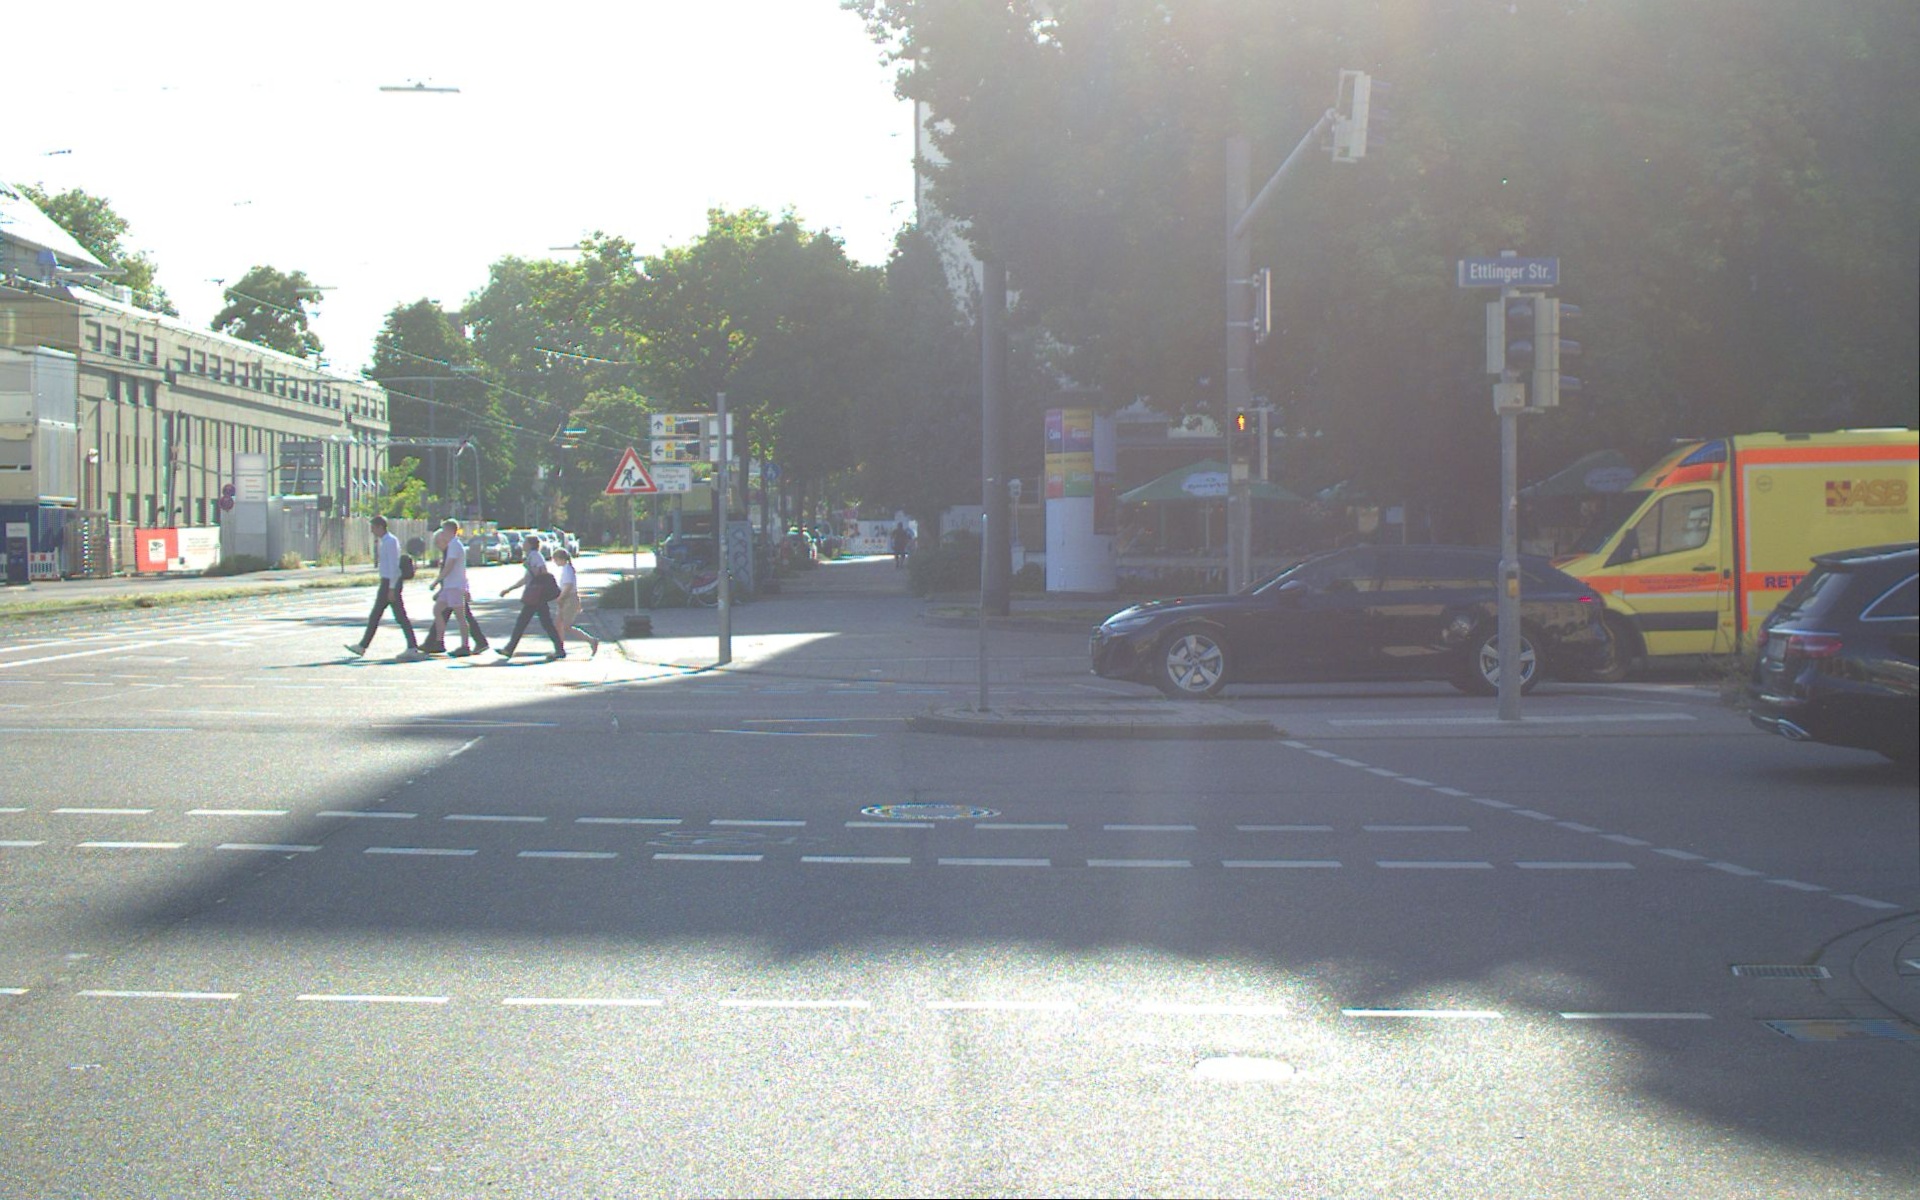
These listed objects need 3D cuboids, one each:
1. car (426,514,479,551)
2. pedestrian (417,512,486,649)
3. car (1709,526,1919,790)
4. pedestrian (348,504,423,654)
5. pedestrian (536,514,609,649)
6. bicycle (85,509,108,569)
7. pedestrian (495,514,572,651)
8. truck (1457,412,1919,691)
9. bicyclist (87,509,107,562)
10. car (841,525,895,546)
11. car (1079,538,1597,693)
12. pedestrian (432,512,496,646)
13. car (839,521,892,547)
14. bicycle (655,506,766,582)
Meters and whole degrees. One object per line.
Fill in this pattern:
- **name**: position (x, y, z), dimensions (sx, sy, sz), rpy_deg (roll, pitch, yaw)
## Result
- **car**: position (-23.036, -3.066, 156.282), dimensions (1.894, 1.601, 4.501), rpy_deg (-1, 1, -2)
- **pedestrian**: position (-6.743, -0.257, 45.620), dimensions (0.739, 1.797, 0.716), rpy_deg (0, 1, 5)
- **car**: position (7.302, 0.308, 21.184), dimensions (4.941, 1.506, 2.210), rpy_deg (0, 2, 3)
- **pedestrian**: position (-7.409, -0.271, 44.363), dimensions (0.802, 1.911, 0.637), rpy_deg (0, 1, 5)
- **pedestrian**: position (-5.178, -0.248, 45.923), dimensions (0.870, 1.797, 0.532), rpy_deg (0, 1, 5)
- **bicycle**: position (-32.819, -2.319, 130.672), dimensions (0.571, 2.288, 1.422), rpy_deg (0, 1, -2)
- **pedestrian**: position (-5.628, -0.237, 45.404), dimensions (0.870, 1.797, 0.664), rpy_deg (0, 1, 5)
- **truck**: position (8.982, -0.549, 38.488), dimensions (6.468, 3.005, 2.725), rpy_deg (0, 1, 1)
- **bicyclist**: position (-32.828, -2.458, 130.709), dimensions (0.571, 2.017, 0.762), rpy_deg (0, 1, -2)
- **car**: position (-5.678, -3.955, 211.200), dimensions (3.217, 1.259, 1.373), rpy_deg (1, 0, -5)
- **car**: position (3.557, 0.163, 32.992), dimensions (4.735, 1.410, 2.000), rpy_deg (0, -1, 0)
- **pedestrian**: position (-6.714, -0.292, 46.519), dimensions (0.739, 1.797, 0.532), rpy_deg (0, 1, 5)
- **car**: position (-5.879, -4.088, 213.436), dimensions (3.214, 1.583, 1.446), rpy_deg (1, 0, -4)
- **bicycle**: position (-5.912, -1.323, 81.488), dimensions (2.547, 1.737, 1.037), rpy_deg (1, 0, 0)
